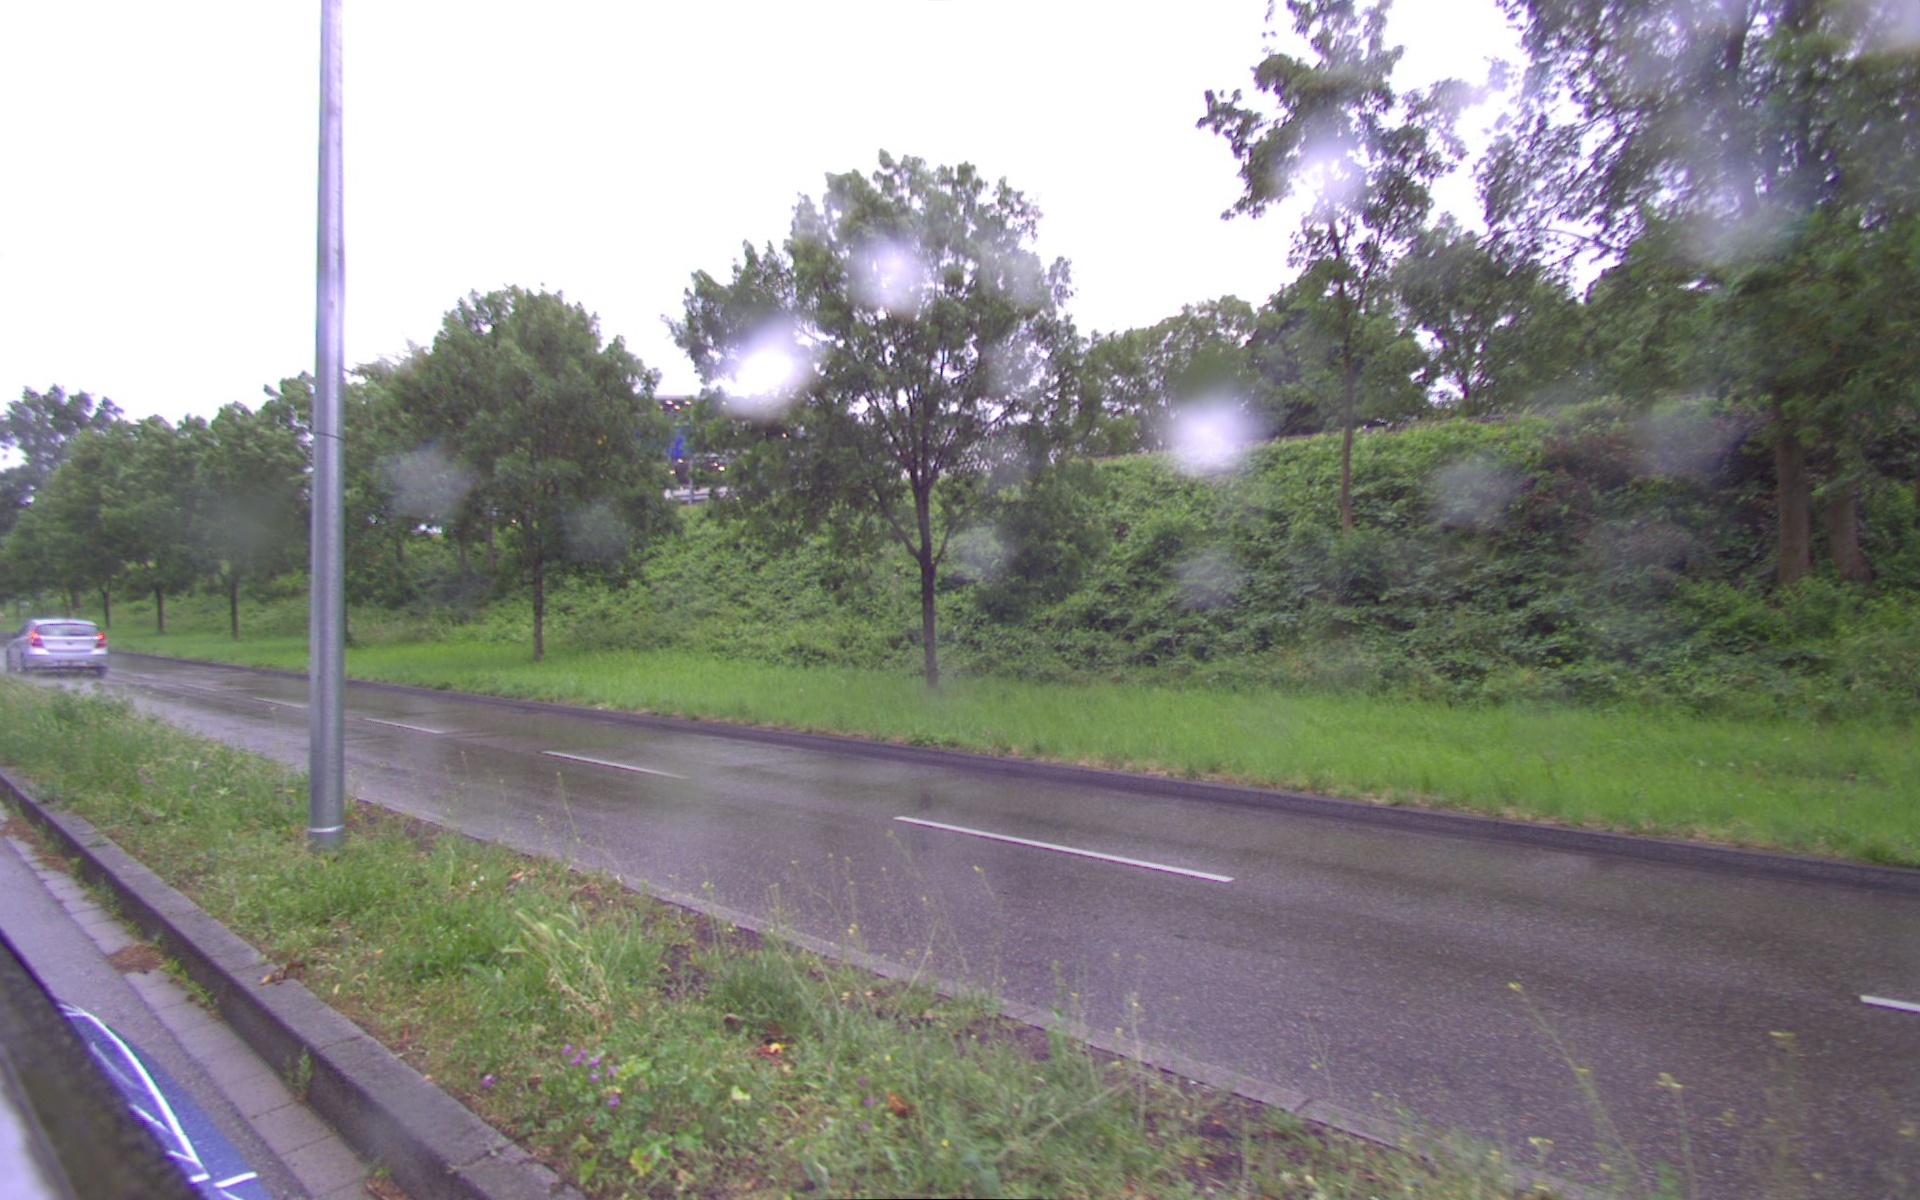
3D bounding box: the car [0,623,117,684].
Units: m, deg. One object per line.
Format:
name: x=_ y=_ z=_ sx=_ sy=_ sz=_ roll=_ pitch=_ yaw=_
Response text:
car: x=-24.078 y=1.404 z=26.950 sx=3.997 sy=1.474 sz=1.797 roll=-1 pitch=-4 yaw=41
